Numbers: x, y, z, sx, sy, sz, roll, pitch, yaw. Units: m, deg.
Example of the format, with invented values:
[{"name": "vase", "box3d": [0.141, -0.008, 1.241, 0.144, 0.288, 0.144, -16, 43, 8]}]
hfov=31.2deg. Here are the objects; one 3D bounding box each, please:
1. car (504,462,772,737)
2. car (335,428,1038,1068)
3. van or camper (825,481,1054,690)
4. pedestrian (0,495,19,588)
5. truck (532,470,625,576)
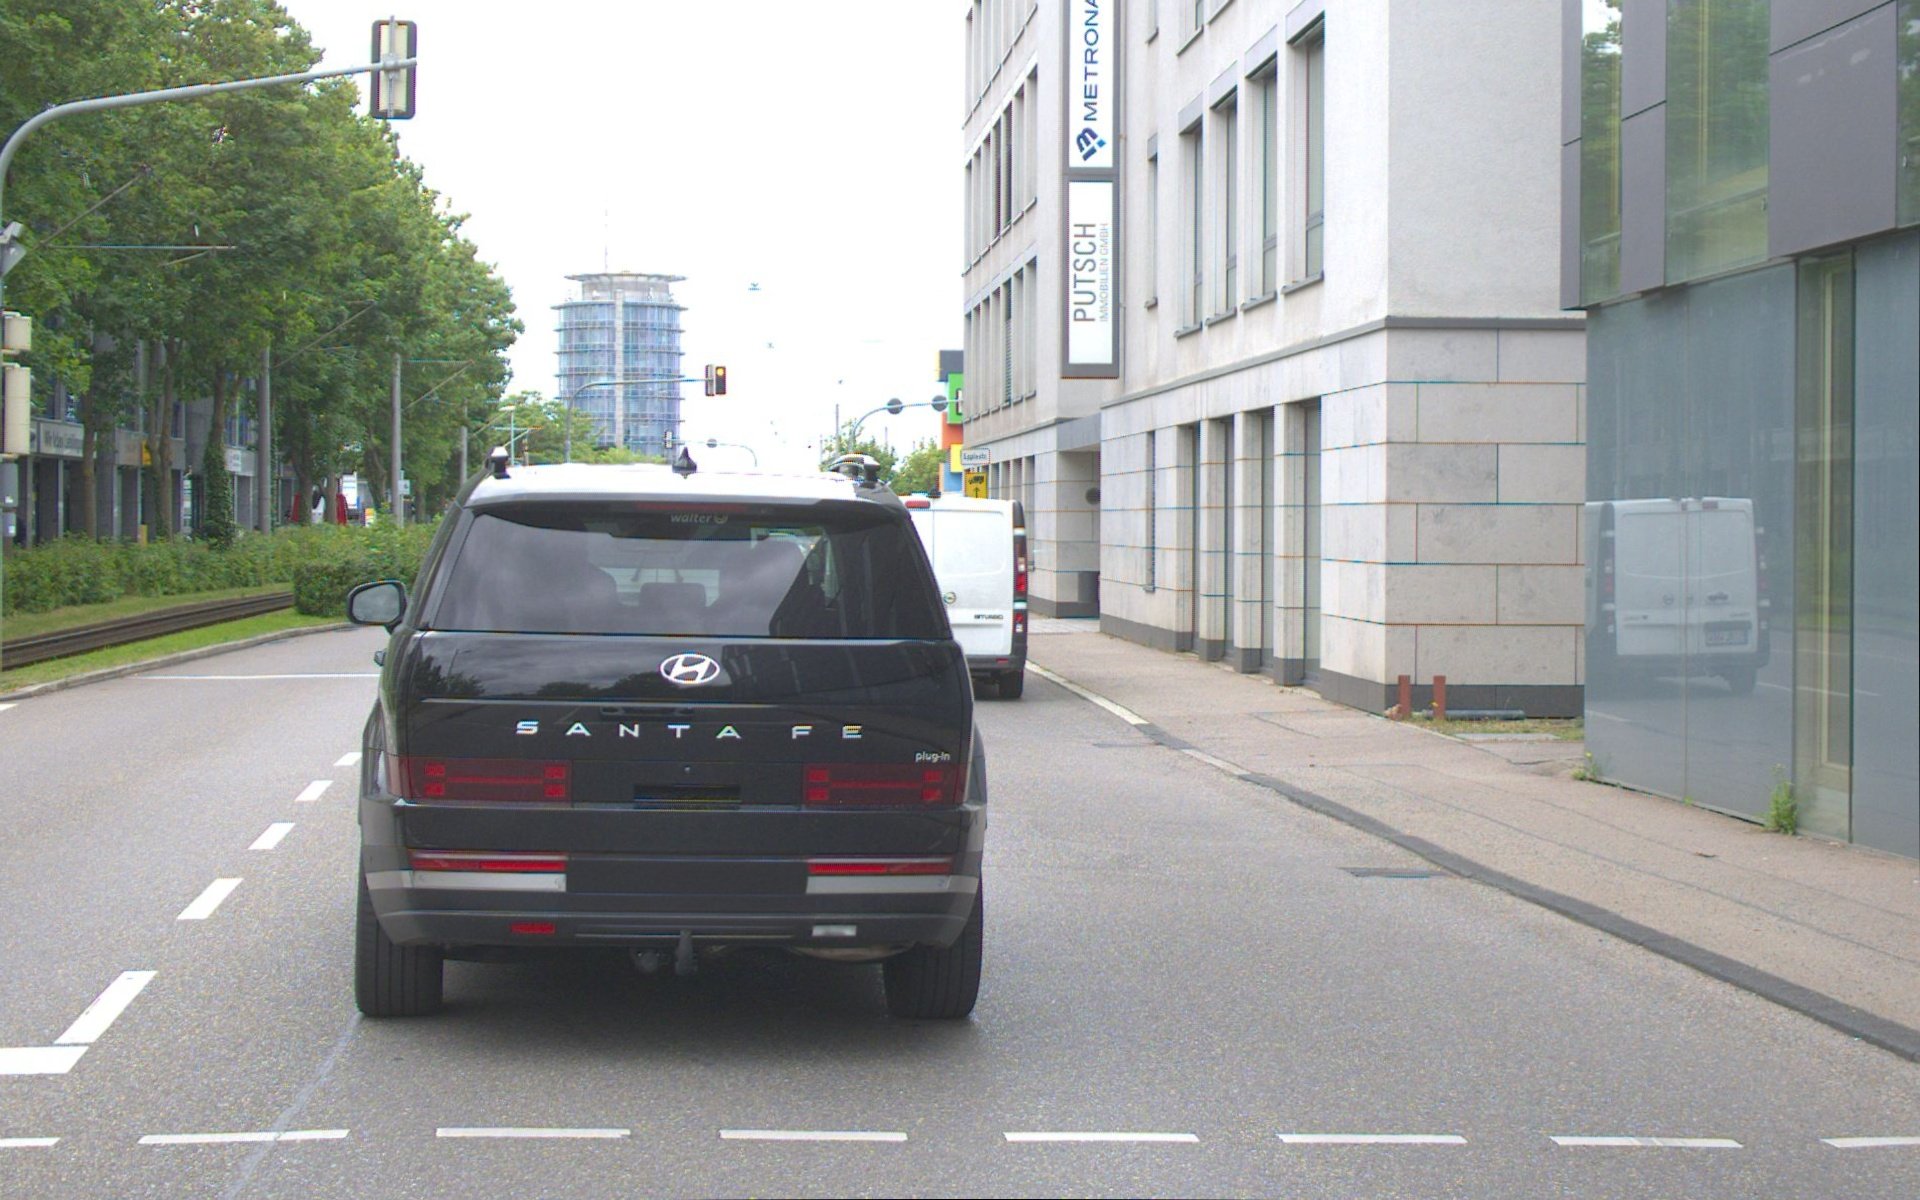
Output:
[{"name": "car", "box3d": [-2.620, -0.056, 27.233, 1.931, 1.987, 4.536, 0, 1, -7]}, {"name": "car", "box3d": [-1.056, 0.379, 11.668, 1.908, 1.743, 4.398, 1, 1, -8]}, {"name": "van or camper", "box3d": [-0.274, -0.185, 34.273, 1.993, 1.909, 4.332, 1, 1, -4]}, {"name": "pedestrian", "box3d": [-19.748, -1.196, 70.575, 0.675, 1.902, 0.622, -1, 1, -3]}, {"name": "truck", "box3d": [-9.682, -1.961, 87.533, 2.165, 2.606, 5.797, 0, 1, -5]}]
